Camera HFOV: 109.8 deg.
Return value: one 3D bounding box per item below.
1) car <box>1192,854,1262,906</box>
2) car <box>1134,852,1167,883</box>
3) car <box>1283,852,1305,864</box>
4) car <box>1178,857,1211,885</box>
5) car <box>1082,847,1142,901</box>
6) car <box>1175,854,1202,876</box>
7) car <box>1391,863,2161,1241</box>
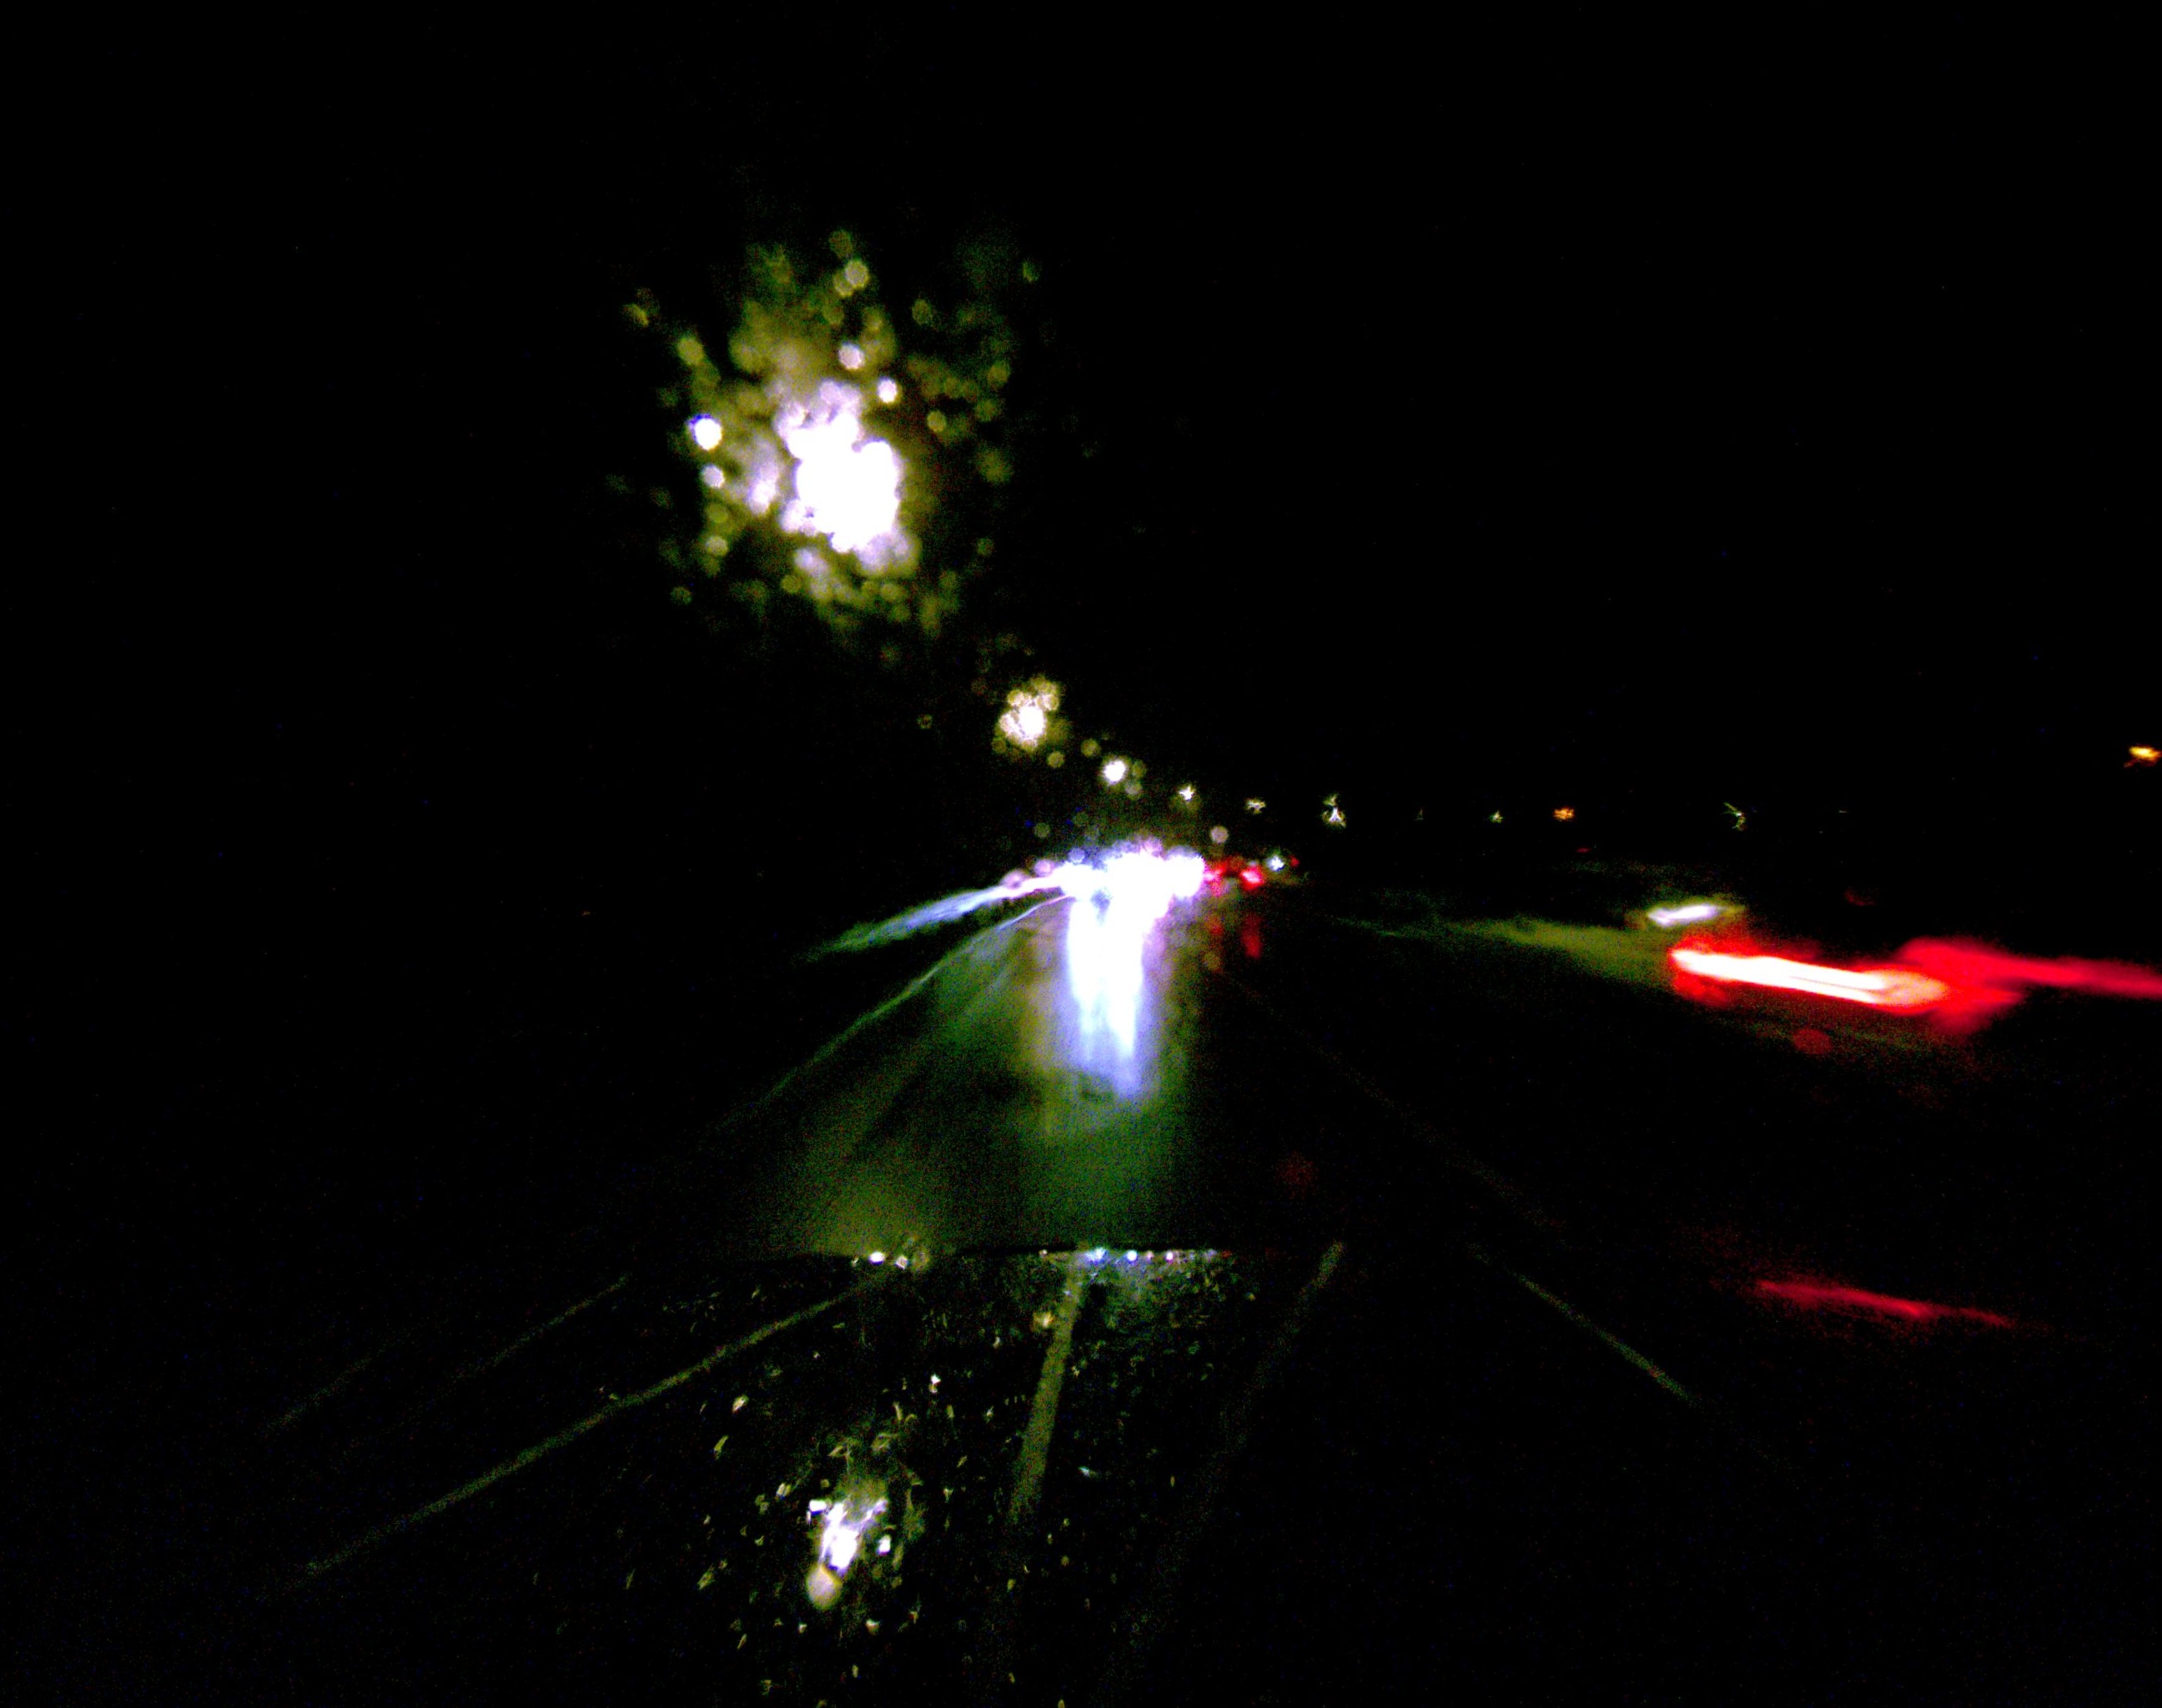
[{"bbox_3d":[4.622,0.771,24.513,1.621,1.470,4.047,-1,0,3],"label":"car"},{"bbox_3d":[4.633,0.869,50.443,1.997,1.922,4.003,-1,-1,7],"label":"car"},{"bbox_3d":[26.073,0.532,93.056,1.730,1.396,3.870,-1,0,29],"label":"car"},{"bbox_3d":[6.223,0.888,41.477,1.667,1.423,3.822,-1,0,9],"label":"car"},{"bbox_3d":[1.247,0.740,29.014,1.935,1.861,4.002,-1,-1,7],"label":"car"},{"bbox_3d":[9.890,0.955,69.423,1.996,1.922,4.005,-1,-1,14],"label":"car"},{"bbox_3d":[4.009,0.838,5.299,1.764,1.423,4.327,-2,0,-2],"label":"car"}]
